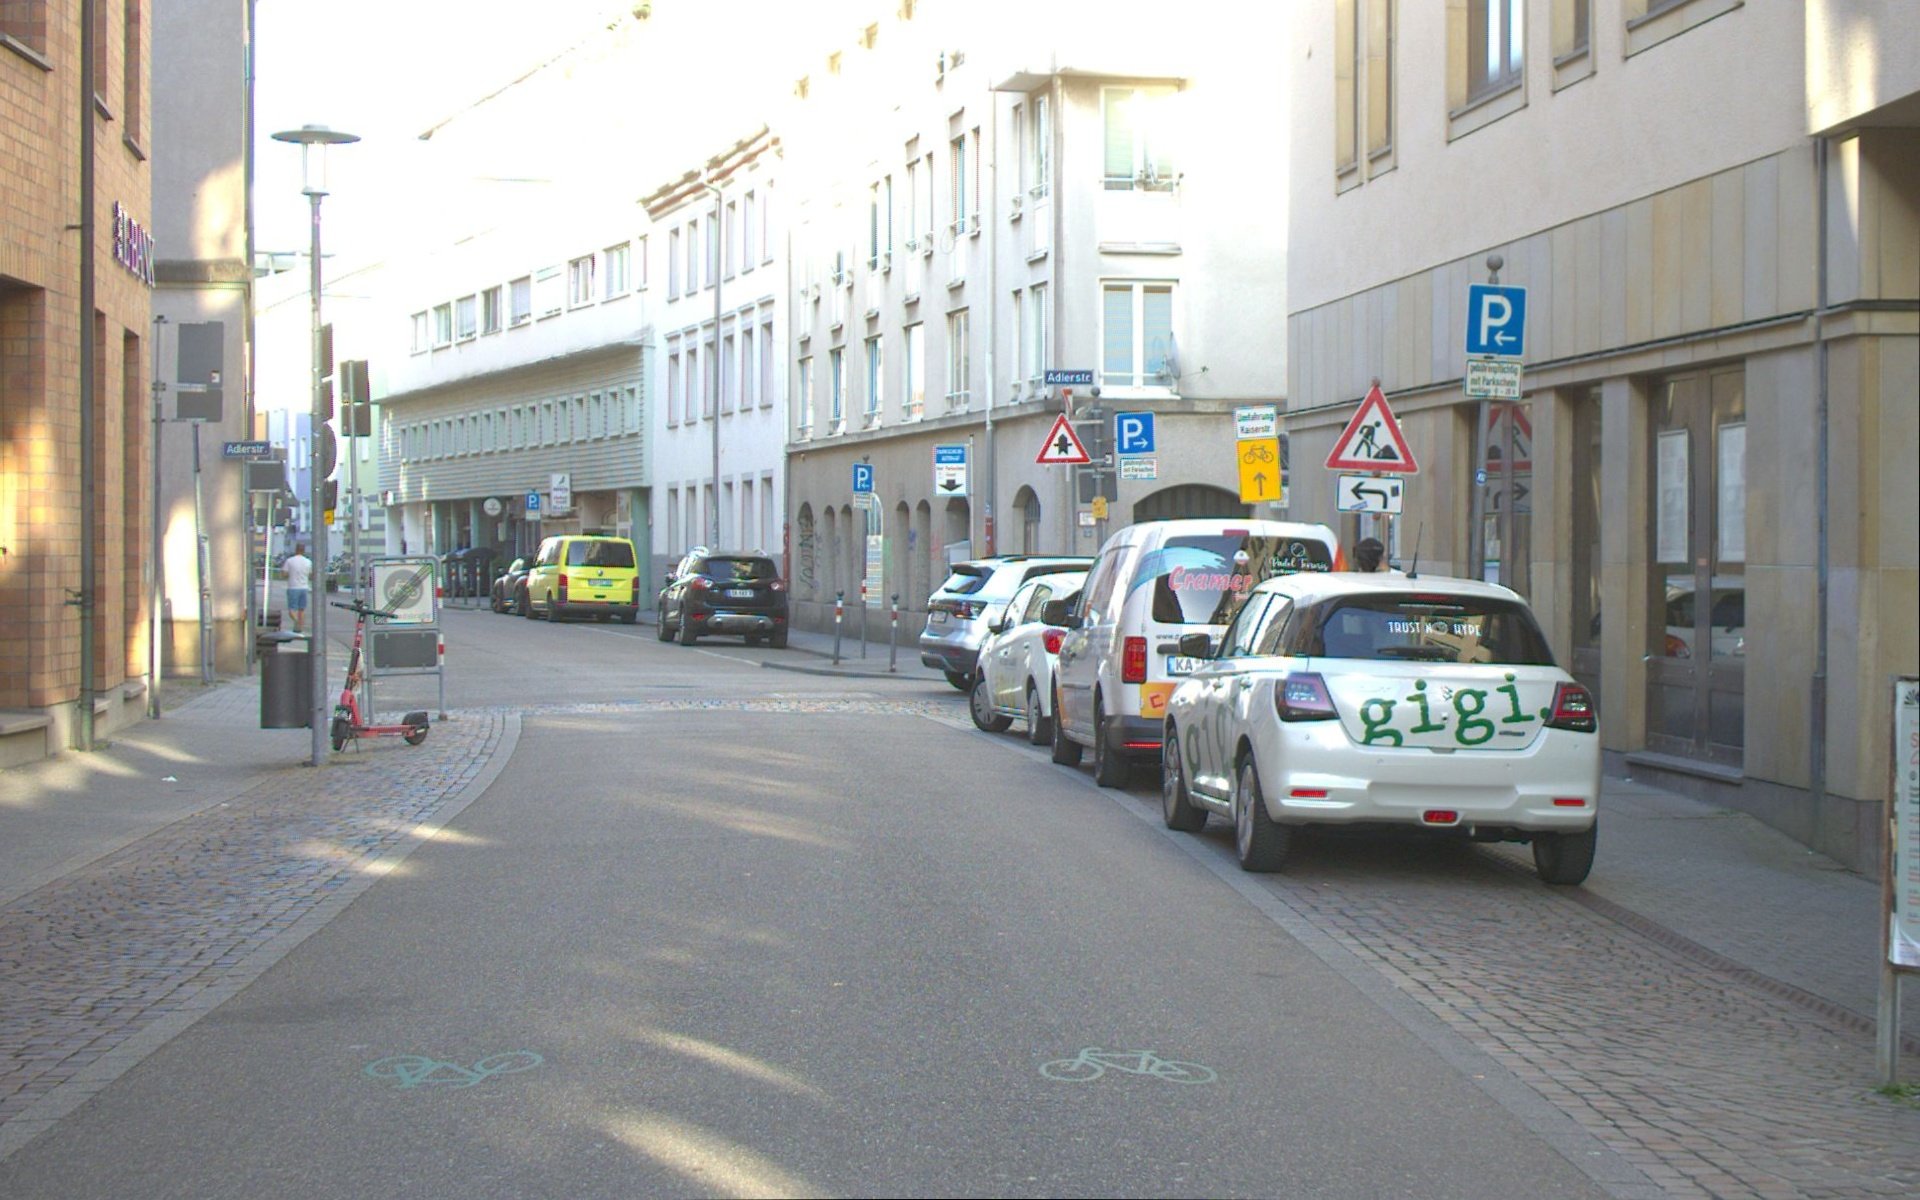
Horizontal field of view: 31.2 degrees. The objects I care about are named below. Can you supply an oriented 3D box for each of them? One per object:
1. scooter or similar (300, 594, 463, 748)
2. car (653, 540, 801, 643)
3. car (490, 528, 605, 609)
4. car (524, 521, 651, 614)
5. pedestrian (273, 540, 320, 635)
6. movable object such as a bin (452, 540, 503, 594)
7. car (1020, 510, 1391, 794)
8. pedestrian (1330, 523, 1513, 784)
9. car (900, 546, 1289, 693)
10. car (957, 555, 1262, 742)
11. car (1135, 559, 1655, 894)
[{"bbox_3d":[-4.759,0.571,28.361,0.698,1.213,1.355,0,1,23],"label":"scooter or similar"},{"bbox_3d":[-4.113,-0.171,60.107,1.967,1.686,4.102,1,1,-12],"label":"car"},{"bbox_3d":[-9.864,-0.774,81.979,2.052,1.866,4.101,0,1,-17],"label":"car"},{"bbox_3d":[-8.302,-0.745,76.296,2.052,2.007,4.176,0,1,-17],"label":"car"},{"bbox_3d":[-12.110,-0.228,62.739,0.765,1.718,0.687,0,1,-18],"label":"pedestrian"},{"bbox_3d":[-14.061,-0.974,100.157,1.131,1.552,1.740,0,1,-20],"label":"movable object such as a bin"},{"bbox_3d":[1.614,0.298,24.544,1.830,1.785,5.215,1,1,-5],"label":"car"},{"bbox_3d":[3.247,0.364,24.291,1.042,1.795,1.199,0,0,-5],"label":"pedestrian"},{"bbox_3d":[1.492,0.186,38.642,3.986,1.557,1.843,-1,1,-16],"label":"car"},{"bbox_3d":[1.241,0.381,30.486,1.888,1.513,4.064,1,1,-9],"label":"car"},{"bbox_3d":[2.159,0.575,18.262,1.840,1.473,4.169,2,1,-5],"label":"car"}]
